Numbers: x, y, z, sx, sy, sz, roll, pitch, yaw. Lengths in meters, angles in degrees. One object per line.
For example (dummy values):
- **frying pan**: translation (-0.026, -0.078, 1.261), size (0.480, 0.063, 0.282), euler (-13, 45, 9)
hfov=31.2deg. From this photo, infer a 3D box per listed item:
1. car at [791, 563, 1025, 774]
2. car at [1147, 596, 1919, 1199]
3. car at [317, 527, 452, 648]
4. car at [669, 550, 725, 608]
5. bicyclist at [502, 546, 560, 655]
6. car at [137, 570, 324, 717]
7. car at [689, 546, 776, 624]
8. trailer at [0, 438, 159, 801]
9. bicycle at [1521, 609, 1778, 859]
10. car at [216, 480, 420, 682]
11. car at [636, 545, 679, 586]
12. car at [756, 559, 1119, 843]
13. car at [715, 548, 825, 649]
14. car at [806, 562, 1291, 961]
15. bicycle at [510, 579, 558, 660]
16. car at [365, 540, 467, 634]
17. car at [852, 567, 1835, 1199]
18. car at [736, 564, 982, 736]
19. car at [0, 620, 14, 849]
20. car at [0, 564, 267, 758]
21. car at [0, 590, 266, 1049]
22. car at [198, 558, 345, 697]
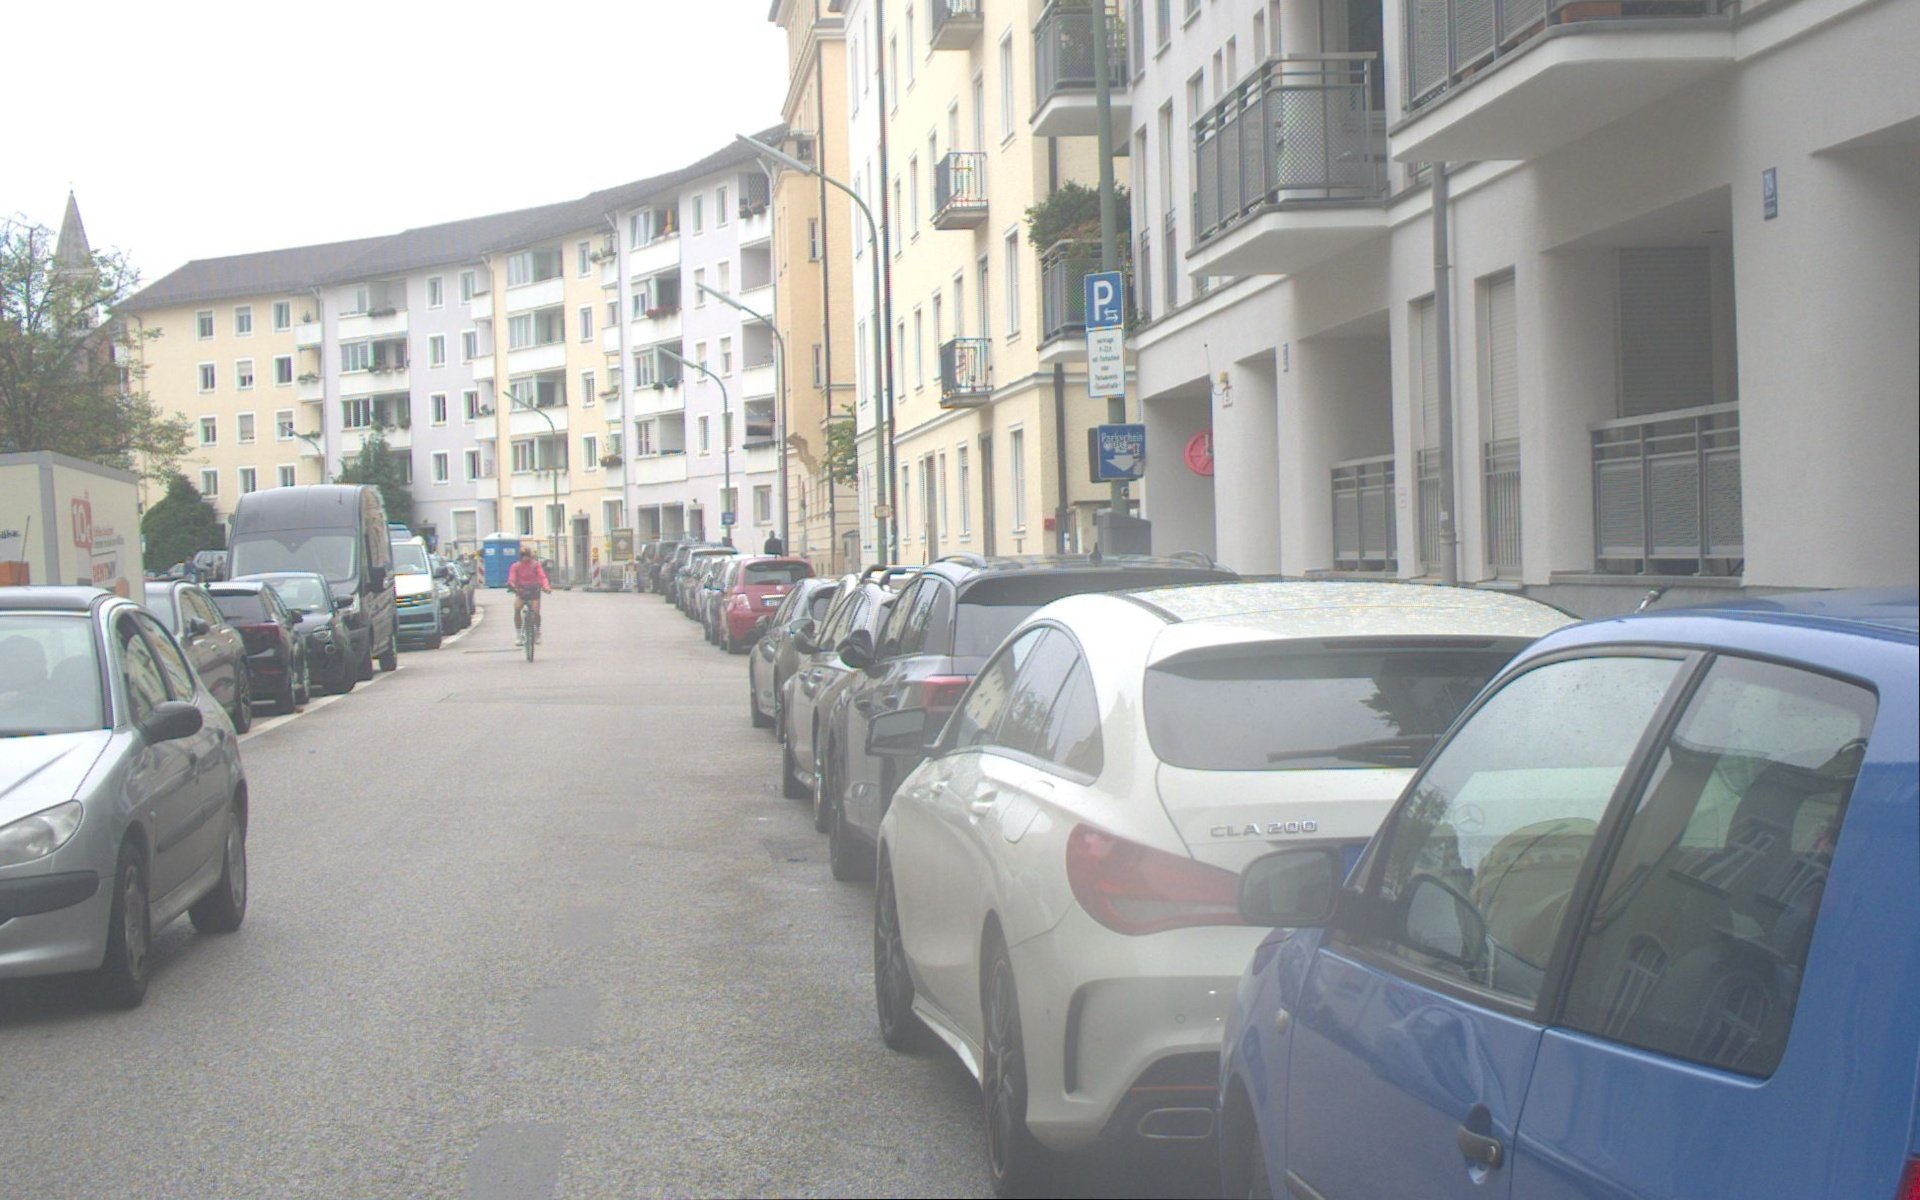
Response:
- **car**: translation (-0.463, 0.478, 26.729), size (1.519, 1.525, 3.527), euler (0, 1, -6)
- **car**: translation (1.367, 0.720, 4.649), size (1.618, 1.407, 3.554), euler (1, 0, -7)
- **car**: translation (-10.080, -0.261, 60.499), size (1.882, 1.925, 4.602), euler (-3, 2, -5)
- **car**: translation (-7.630, -0.622, 99.609), size (1.473, 1.635, 4.002), euler (0, 1, -7)
- **bicyclist**: translation (-6.304, 0.005, 50.582), size (0.694, 1.556, 0.967), euler (-3, 1, -2)
- **car**: translation (-7.983, 0.437, 37.897), size (1.700, 1.441, 3.826), euler (-1, 2, -7)
- **car**: translation (-4.676, -0.321, 70.292), size (1.598, 1.486, 3.800), euler (-1, 2, -6)
- **trailer**: translation (-7.274, 0.132, 25.461), size (1.709, 2.453, 4.387), euler (-3, 1, -3)
- **bicycle**: translation (3.522, 0.650, 17.745), size (0.627, 1.156, 2.128), euler (-2, 1, -7)
- **car**: translation (-8.898, -0.321, 48.097), size (2.088, 2.627, 5.377), euler (-1, 2, -4)
- **car**: translation (-9.752, -1.109, 110.734), size (1.272, 1.294, 2.798), euler (-1, 1, -7)
- **car**: translation (-0.255, 0.533, 21.125), size (1.733, 1.525, 4.622), euler (1, 1, -6)
- **car**: translation (-3.041, -0.048, 54.531), size (1.595, 1.503, 3.801), euler (-2, 1, -5)
- **car**: translation (0.261, 0.610, 15.329), size (1.603, 1.525, 3.985), euler (1, 1, -6)
- **bicycle**: translation (-6.263, 0.273, 50.594), size (0.504, 1.124, 1.773), euler (-3, 1, -2)
- **car**: translation (-10.708, -0.284, 67.824), size (1.701, 1.685, 4.029), euler (-3, 2, -6)
- **car**: translation (0.725, 0.652, 9.057), size (1.657, 1.435, 4.208), euler (1, 1, -6)
- **car**: translation (-0.972, 0.406, 30.823), size (1.763, 1.403, 4.079), euler (-1, 0, -8)
- **car**: translation (-6.771, 0.840, 20.096), size (1.686, 1.597, 3.922), euler (-3, 1, -6)
- **car**: translation (-7.569, 0.496, 31.173), size (1.766, 1.533, 4.541), euler (-3, 1, -3)
- **car**: translation (-3.570, 0.697, 12.470), size (1.581, 1.406, 3.613), euler (-2, 0, -4)
- **car**: translation (-8.444, 0.299, 42.346), size (1.585, 1.533, 3.545), euler (-3, 2, -9)
